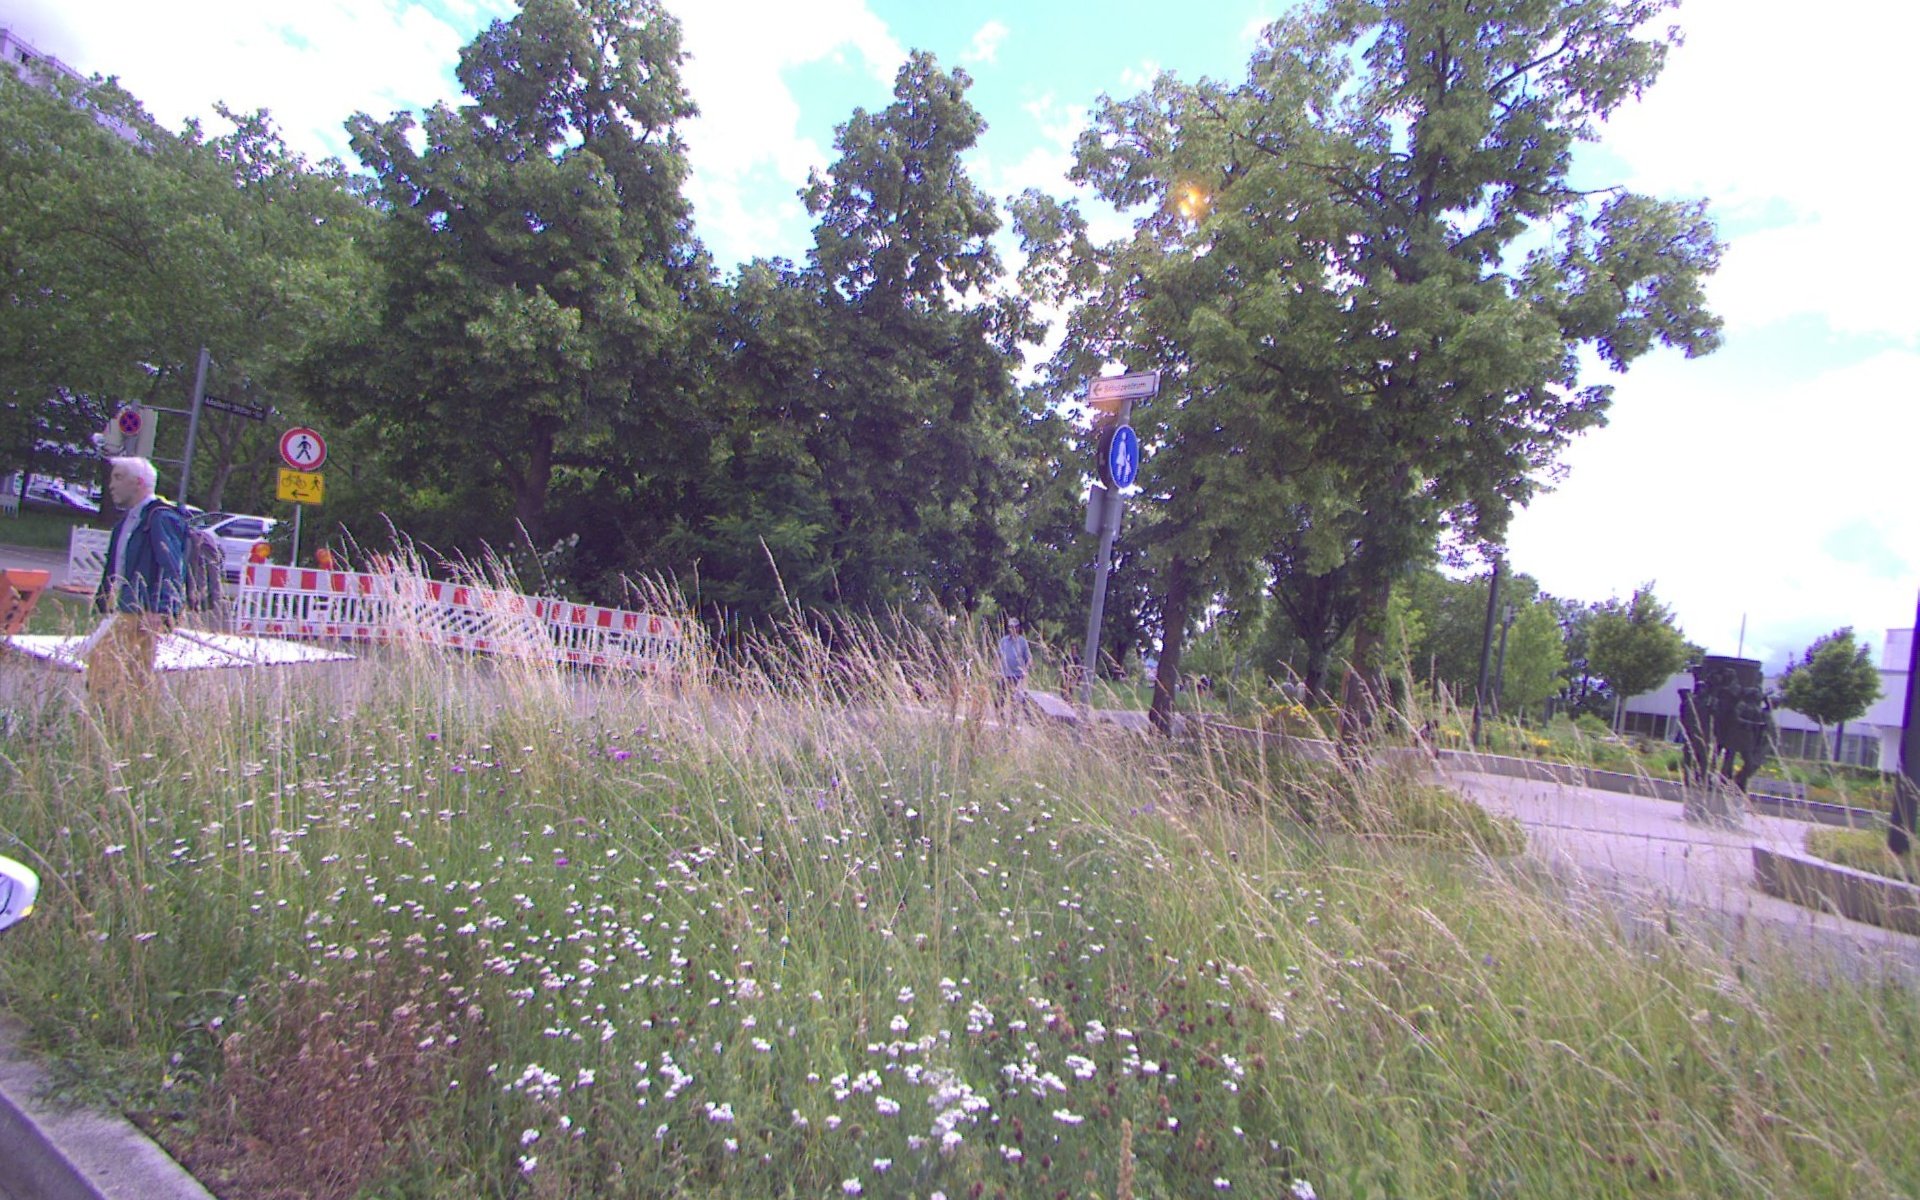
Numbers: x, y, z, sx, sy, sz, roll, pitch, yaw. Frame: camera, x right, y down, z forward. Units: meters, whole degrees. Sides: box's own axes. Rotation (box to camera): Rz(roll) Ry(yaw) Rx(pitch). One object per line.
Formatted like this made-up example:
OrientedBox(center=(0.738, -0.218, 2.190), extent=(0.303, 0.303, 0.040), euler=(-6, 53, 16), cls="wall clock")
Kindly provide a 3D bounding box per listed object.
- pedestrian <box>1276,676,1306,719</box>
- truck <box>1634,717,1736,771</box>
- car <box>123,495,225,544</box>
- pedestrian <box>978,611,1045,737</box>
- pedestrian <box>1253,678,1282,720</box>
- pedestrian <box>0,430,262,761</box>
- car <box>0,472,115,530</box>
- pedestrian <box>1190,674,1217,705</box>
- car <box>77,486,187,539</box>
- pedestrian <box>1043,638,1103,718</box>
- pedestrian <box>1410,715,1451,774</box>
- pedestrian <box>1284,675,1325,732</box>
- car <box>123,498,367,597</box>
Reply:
OrientedBox(center=(14.254, 4.204, 43.283), extent=(0.879, 1.732, 0.817), euler=(8, -1, 30), cls="pedestrian")
OrientedBox(center=(37.312, 7.399, 51.931), extent=(1.965, 2.037, 3.999), euler=(8, -1, -4), cls="truck")
OrientedBox(center=(-44.250, -4.526, 56.691), extent=(3.926, 2.037, 2.001), euler=(8, -1, 0), cls="car")
OrientedBox(center=(0.834, 1.171, 16.070), extent=(0.757, 1.862, 0.765), euler=(7, -1, 10), cls="pedestrian")
OrientedBox(center=(13.401, 4.311, 43.833), extent=(0.872, 1.681, 0.817), euler=(8, -1, 30), cls="pedestrian")
OrientedBox(center=(-5.033, -0.006, 6.170), extent=(1.005, 1.795, 0.938), euler=(8, -1, -38), cls="pedestrian")
OrientedBox(center=(-43.700, -4.775, 48.572), extent=(3.926, 2.037, 2.001), euler=(8, -1, 0), cls="car")
OrientedBox(center=(13.925, 5.094, 57.537), extent=(1.135, 1.571, 0.818), euler=(8, -1, -2), cls="pedestrian")
OrientedBox(center=(-43.794, -4.599, 53.288), extent=(3.926, 2.037, 2.001), euler=(8, -1, 0), cls="car")
OrientedBox(center=(2.511, 1.737, 22.339), extent=(0.879, 1.647, 0.817), euler=(8, -1, 30), cls="pedestrian")
OrientedBox(center=(10.822, 3.317, 23.119), extent=(0.623, 1.236, 0.618), euler=(7, -1, 36), cls="pedestrian")
OrientedBox(center=(13.405, 4.013, 39.170), extent=(1.137, 2.037, 0.817), euler=(8, 0, 30), cls="pedestrian")
OrientedBox(center=(-19.721, -1.383, 28.055), extent=(1.915, 1.895, 5.090), euler=(7, -2, 28), cls="car")
